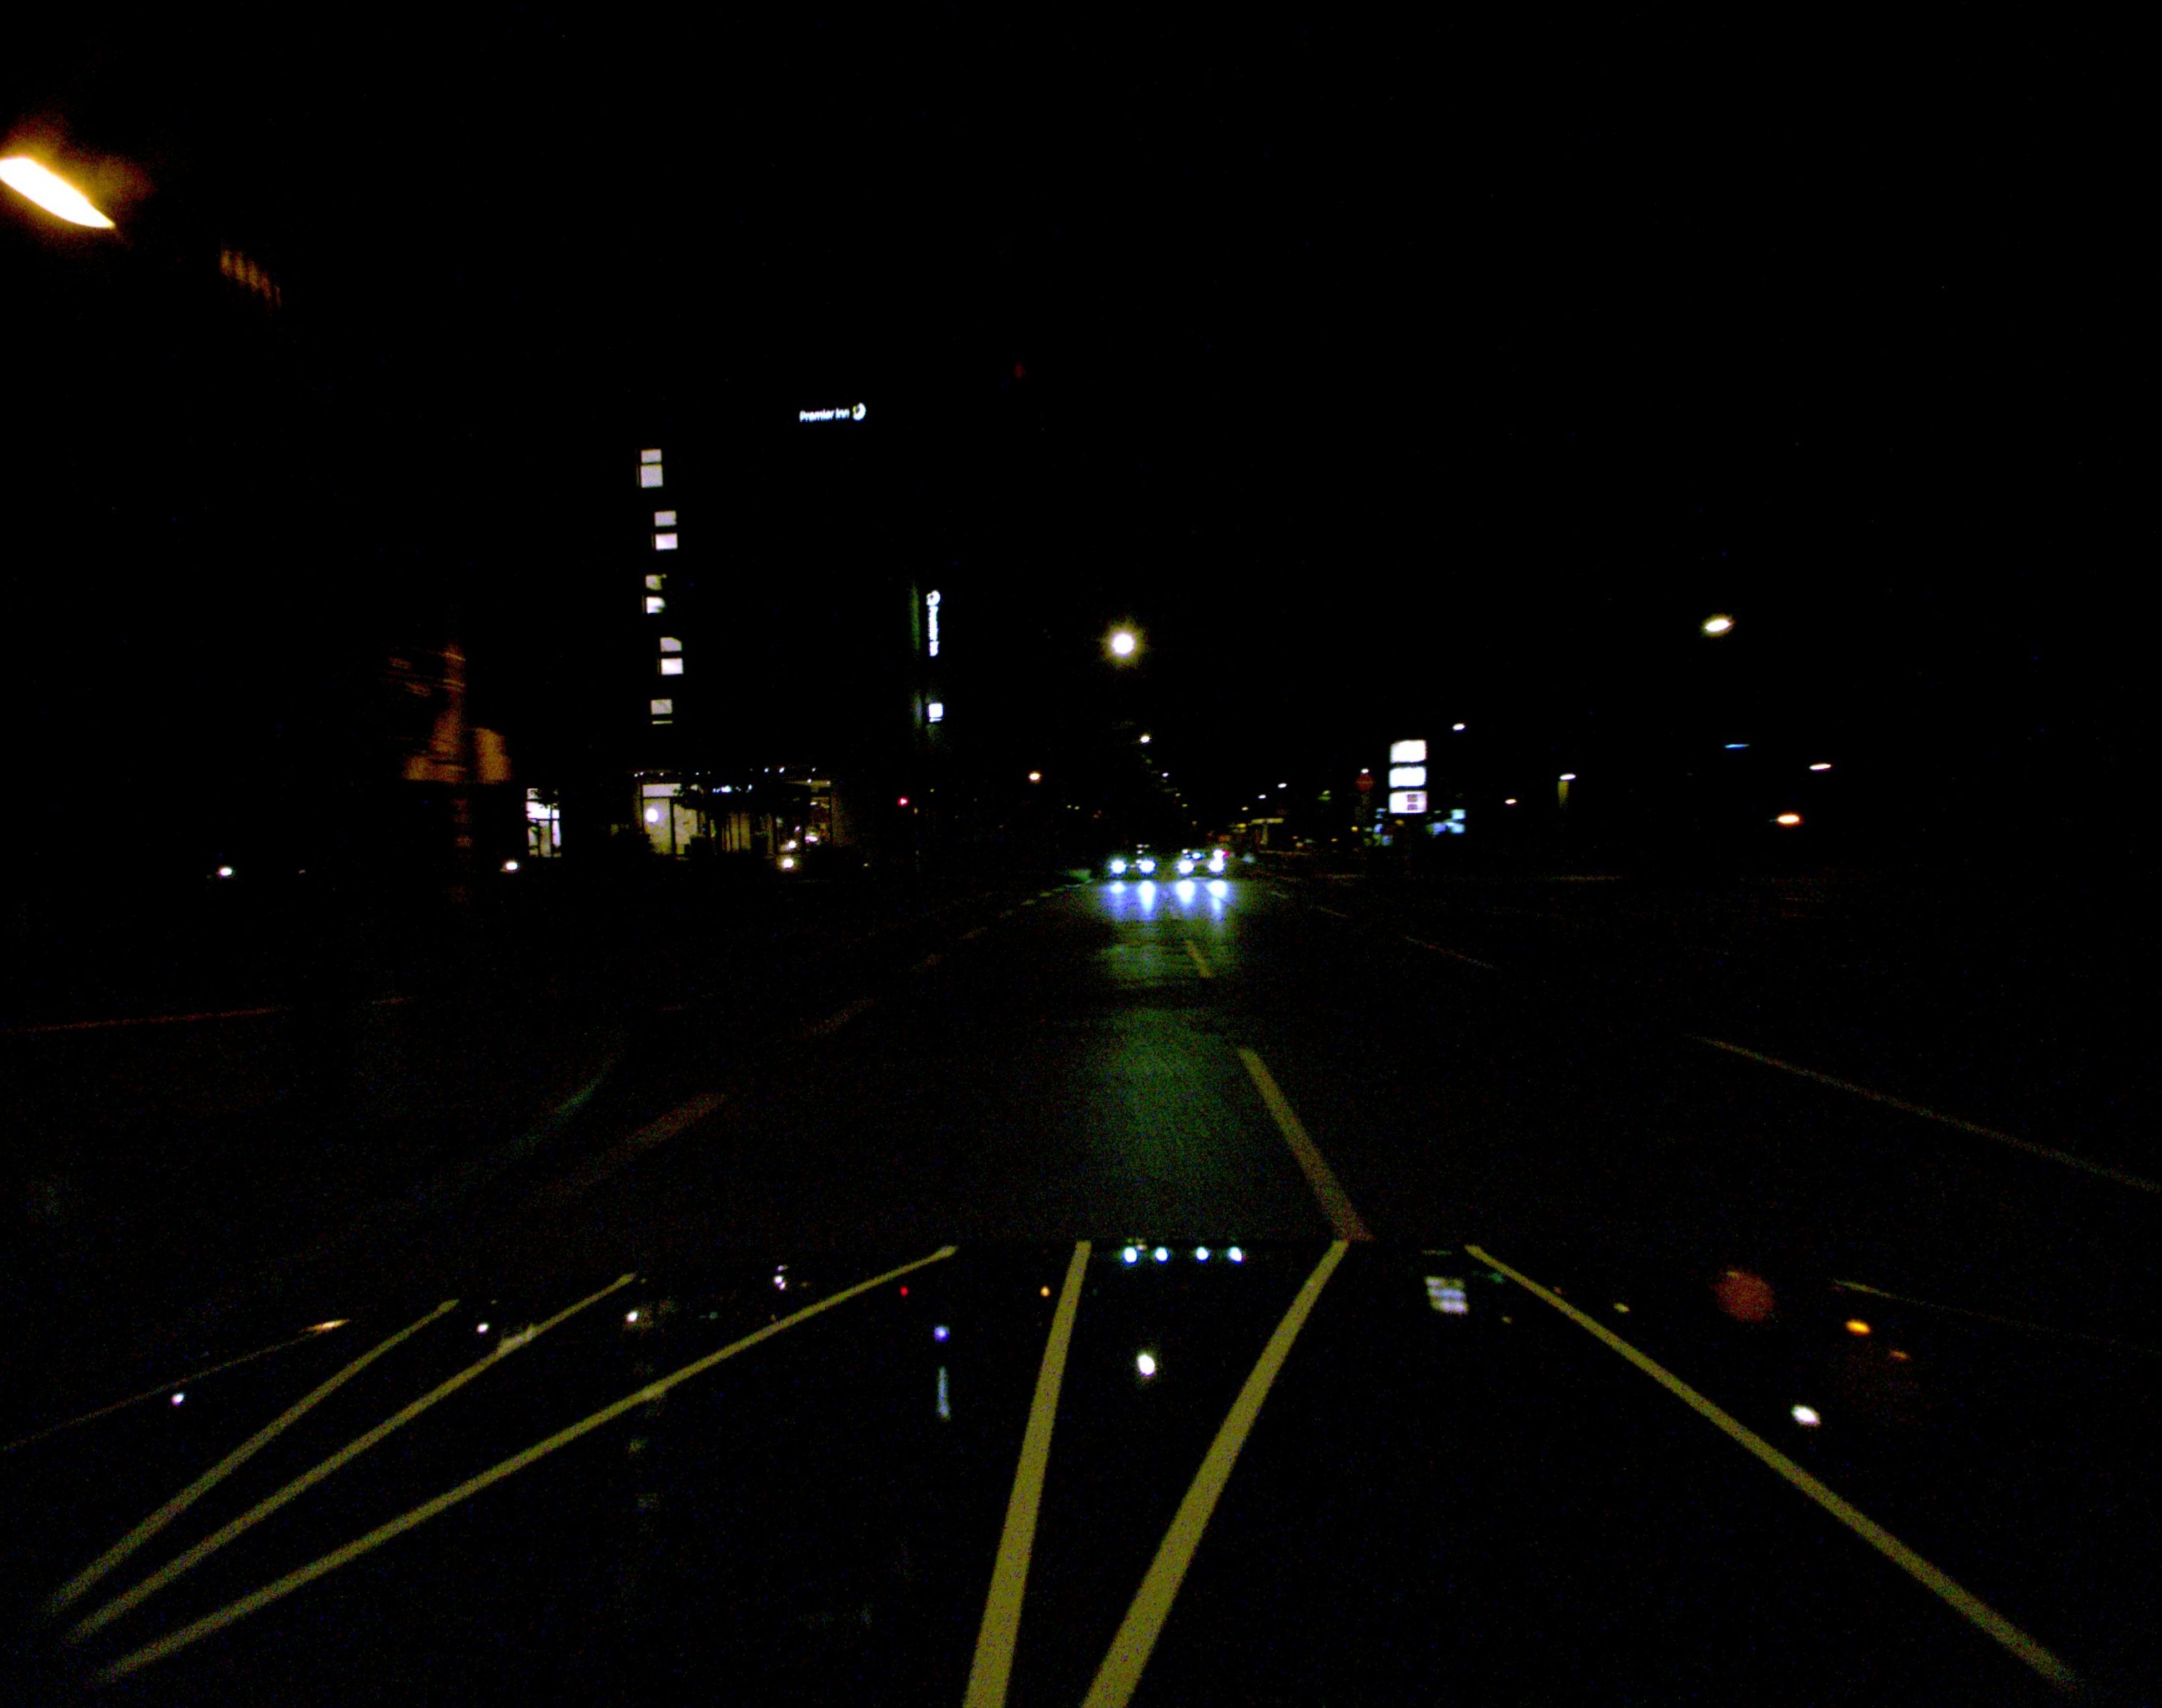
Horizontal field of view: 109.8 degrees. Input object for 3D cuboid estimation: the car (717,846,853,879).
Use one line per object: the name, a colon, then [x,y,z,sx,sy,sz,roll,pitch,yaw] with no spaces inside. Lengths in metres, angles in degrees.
car: [-9.936,0.286,25.637,4.008,1.028,1.480,0,0,-37]

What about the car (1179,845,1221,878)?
car: [5.879,0.344,37.309,1.858,1.482,3.561,-2,0,10]

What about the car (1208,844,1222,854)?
car: [22.684,-0.931,128.516,1.907,1.609,3.719,-2,1,5]

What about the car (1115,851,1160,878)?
car: [2.973,0.485,39.350,1.946,1.299,3.908,0,1,10]
